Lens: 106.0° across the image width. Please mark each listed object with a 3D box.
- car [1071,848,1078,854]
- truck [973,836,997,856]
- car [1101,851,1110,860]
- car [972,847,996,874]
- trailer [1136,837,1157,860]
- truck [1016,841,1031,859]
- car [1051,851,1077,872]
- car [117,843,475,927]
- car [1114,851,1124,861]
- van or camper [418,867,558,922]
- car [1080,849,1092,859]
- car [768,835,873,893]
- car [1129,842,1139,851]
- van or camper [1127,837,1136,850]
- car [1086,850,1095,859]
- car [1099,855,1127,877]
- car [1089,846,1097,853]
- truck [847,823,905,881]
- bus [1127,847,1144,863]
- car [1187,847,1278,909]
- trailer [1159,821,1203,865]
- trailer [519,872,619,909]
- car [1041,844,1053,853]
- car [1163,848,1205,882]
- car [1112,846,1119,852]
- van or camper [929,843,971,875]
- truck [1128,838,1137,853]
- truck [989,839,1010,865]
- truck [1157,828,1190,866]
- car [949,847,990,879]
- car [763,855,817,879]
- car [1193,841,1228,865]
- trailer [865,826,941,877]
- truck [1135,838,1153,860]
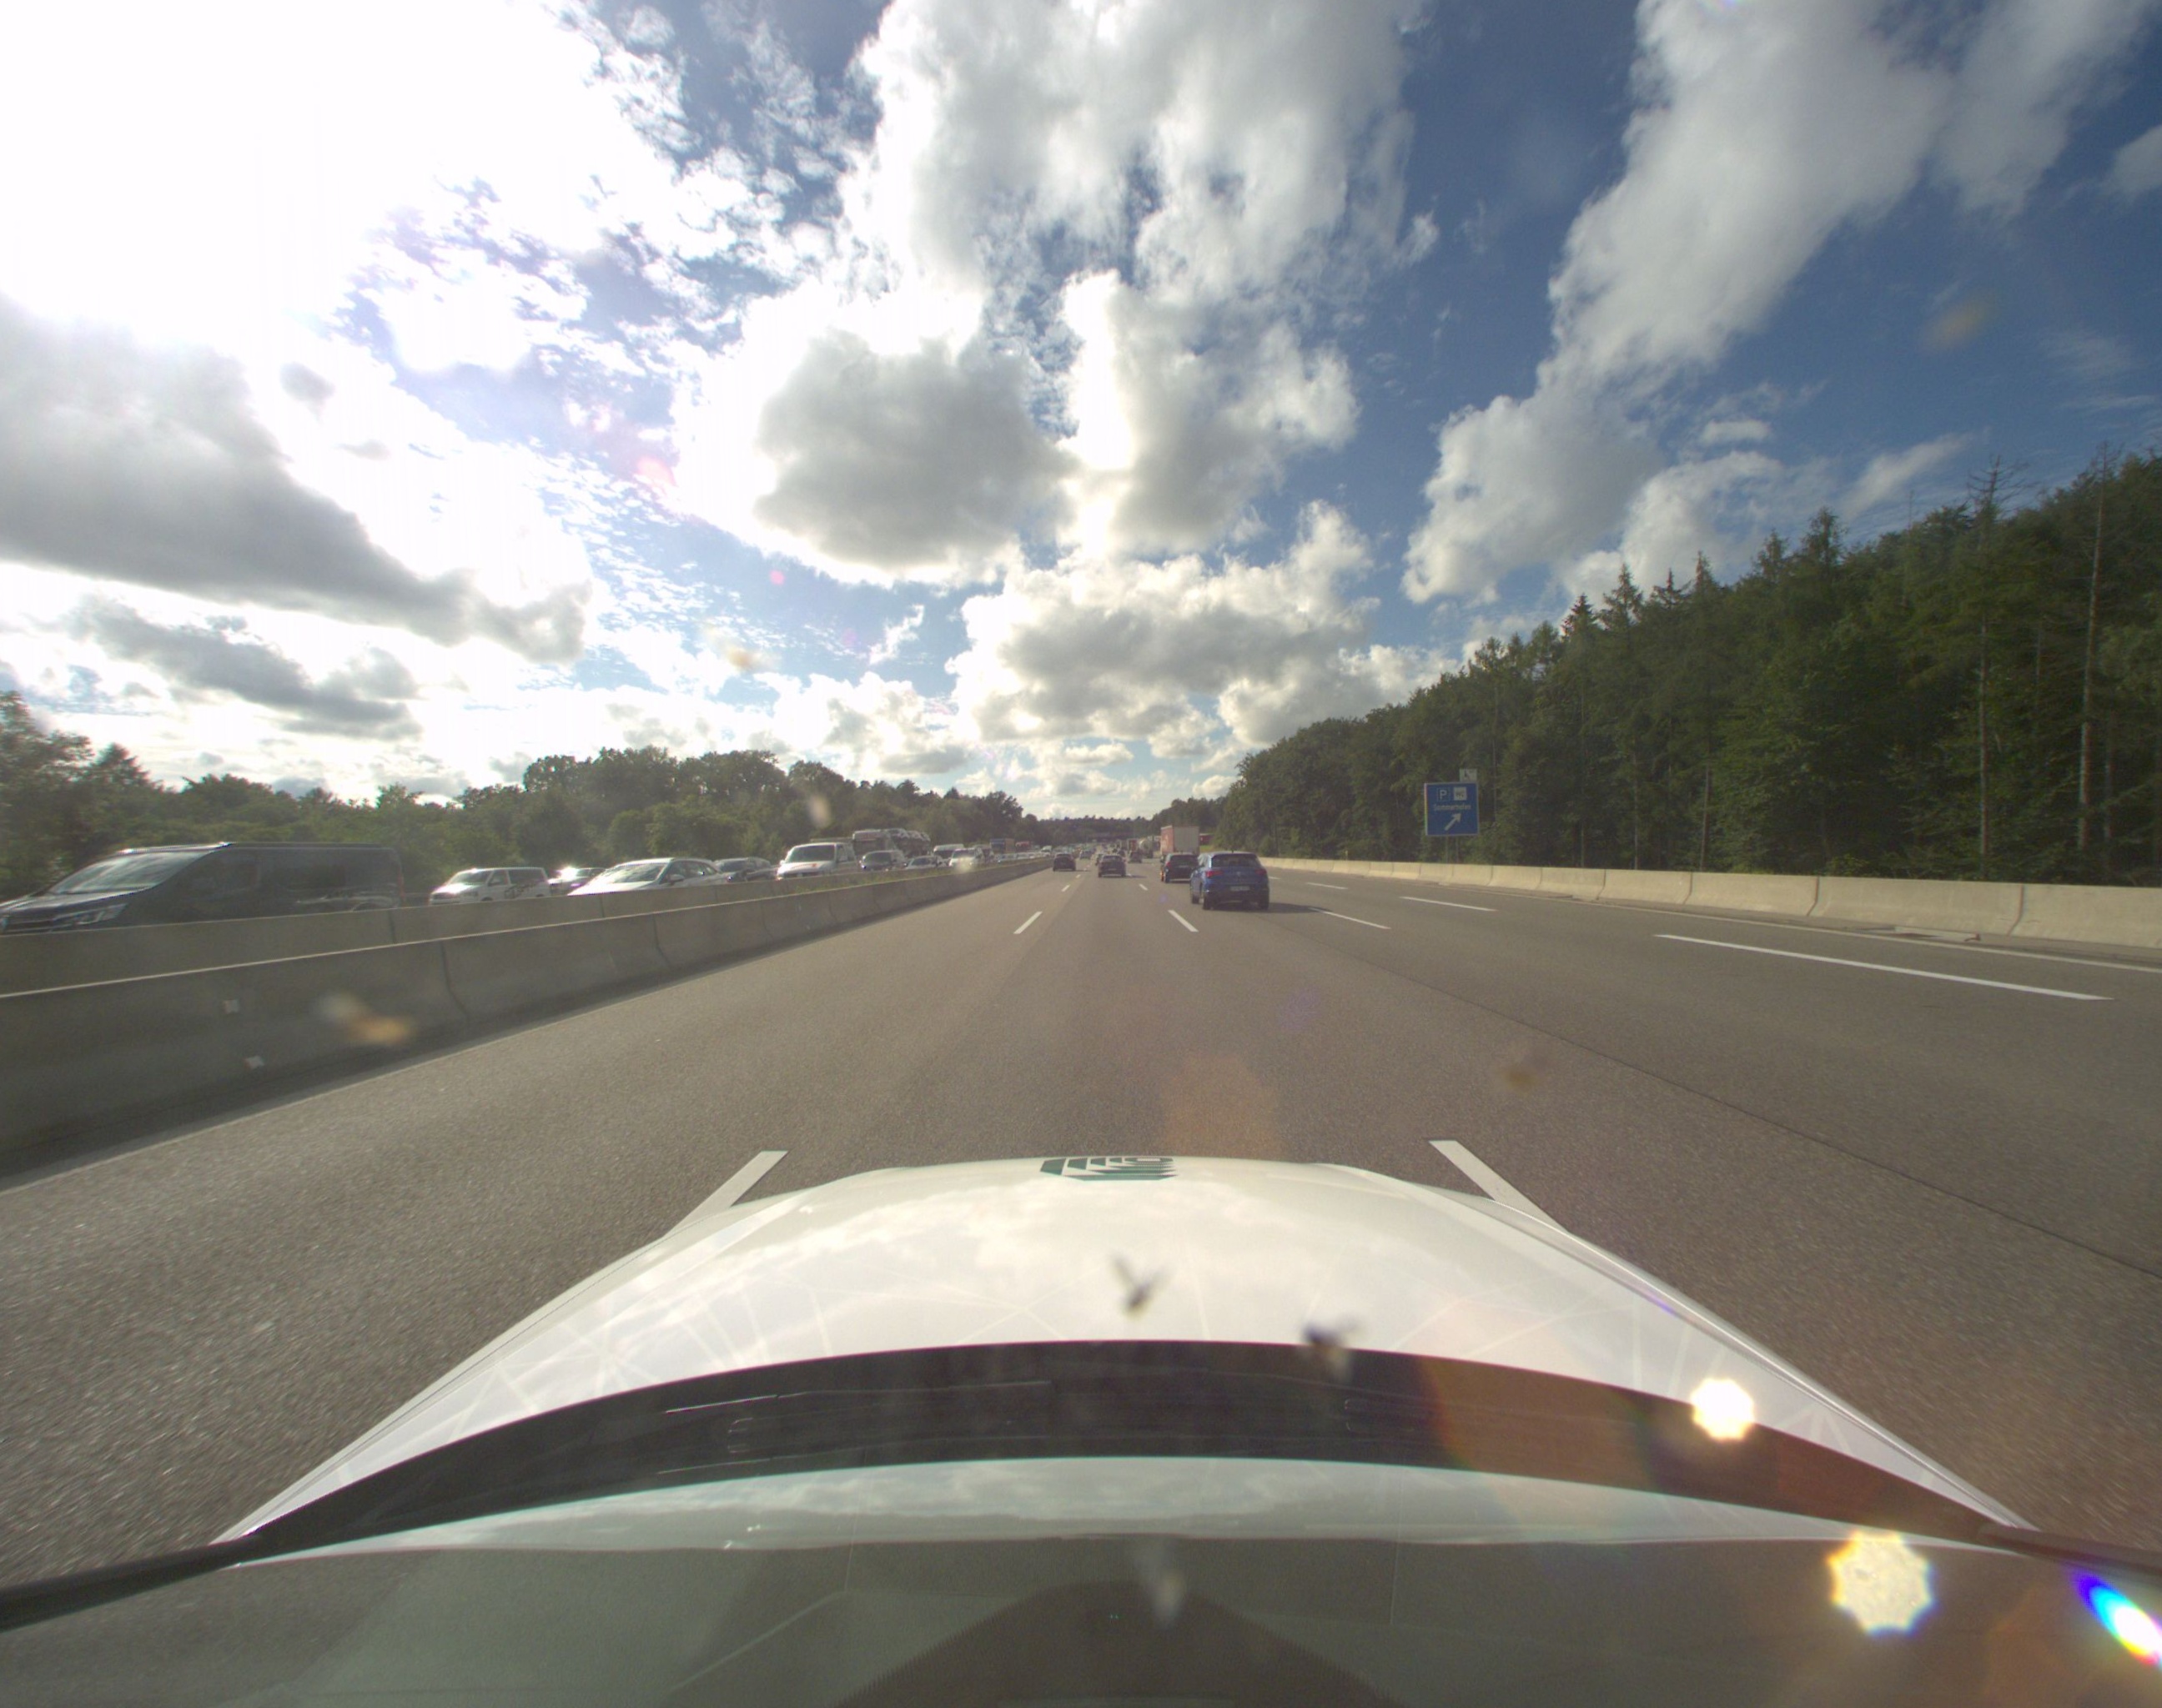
[{"bbox_3d":[-2.094,-0.936,252.679,1.985,1.572,4.819,-1,1,3],"label":"car"},{"bbox_3d":[-14.118,-1.110,119.965,2.320,2.801,7.951,0,0,1],"label":"truck"},{"bbox_3d":[5.595,0.398,187.557,1.986,2.014,4.001,-2,-1,1],"label":"car"},{"bbox_3d":[-11.090,0.718,93.903,1.986,2.963,5.404,0,0,1],"label":"car"},{"bbox_3d":[12.166,-0.922,152.795,3.025,4.016,12.247,-1,0,1],"label":"trailer"},{"bbox_3d":[-12.634,-0.883,180.770,2.766,3.938,6.853,-1,0,0],"label":"truck"},{"bbox_3d":[-1.436,0.645,70.250,1.986,1.776,4.002,0,0,2],"label":"car"},{"bbox_3d":[-13.340,0.470,14.360,1.825,1.230,4.567,-1,0,1],"label":"car"},{"bbox_3d":[8.117,0.471,172.760,1.986,2.014,4.001,0,0,1],"label":"car"},{"bbox_3d":[-23.960,1.557,33.214,1.852,2.033,5.077,-1,-1,2],"label":"van or camper"},{"bbox_3d":[0.955,0.024,148.033,2.146,1.776,4.002,0,0,2],"label":"car"},{"bbox_3d":[-8.651,0.320,27.479,2.079,1.801,4.180,0,0,1],"label":"car"},{"bbox_3d":[12.186,-1.744,186.951,1.986,2.014,4.001,-1,-1,1],"label":"car"},{"bbox_3d":[13.770,-2.783,220.293,2.342,3.144,5.714,-1,-1,3],"label":"van or camper"},{"bbox_3d":[2.151,0.120,182.878,1.986,2.013,4.001,0,0,1],"label":"car"},{"bbox_3d":[1.998,0.748,51.871,1.728,1.365,4.000,0,0,1],"label":"car"},{"bbox_3d":[3.309,-1.223,220.976,1.986,2.013,4.001,0,0,1],"label":"car"},{"bbox_3d":[-15.616,-0.151,62.379,2.842,4.234,5.715,0,0,2],"label":"truck"},{"bbox_3d":[7.076,0.091,105.907,1.986,2.014,4.001,-1,-1,2],"label":"bus"},{"bbox_3d":[4.163,0.639,23.156,1.916,1.541,4.648,-1,-1,3],"label":"car"},{"bbox_3d":[9.911,-0.880,82.460,3.027,4.035,13.893,-1,-1,1],"label":"trailer"},{"bbox_3d":[-23.790,1.639,38.047,1.819,1.579,4.350,-1,-1,2],"label":"trailer"},{"bbox_3d":[-5.674,-0.888,136.151,1.843,1.354,5.488,-1,-1,1],"label":"car"},{"bbox_3d":[5.211,0.560,41.554,1.792,1.644,4.002,0,0,2],"label":"car"},{"bbox_3d":[10.578,-1.505,248.239,1.986,2.013,4.001,0,0,1],"label":"car"},{"bbox_3d":[-11.506,0.449,71.874,2.382,2.711,6.634,-1,-1,2],"label":"van or camper"},{"bbox_3d":[13.430,-2.174,213.363,2.348,3.572,11.273,-1,-1,3],"label":"truck"},{"bbox_3d":[-13.466,-0.348,134.499,2.726,4.148,5.617,-1,-1,0],"label":"truck"},{"bbox_3d":[10.055,-0.704,89.330,3.069,4.063,6.071,-1,-1,1],"label":"truck"},{"bbox_3d":[-7.743,0.658,57.065,1.986,2.100,5.280,-1,-1,2],"label":"car"},{"bbox_3d":[-19.171,0.826,53.833,1.883,1.499,4.412,0,0,2],"label":"car"},{"bbox_3d":[8.678,-0.071,54.942,1.709,1.511,4.302,-2,0,1],"label":"car"},{"bbox_3d":[-15.394,-0.047,72.020,2.820,3.975,16.008,0,-1,1],"label":"trailer"},{"bbox_3d":[12.340,-0.966,159.468,3.034,4.160,7.129,-1,0,2],"label":"truck"}]
